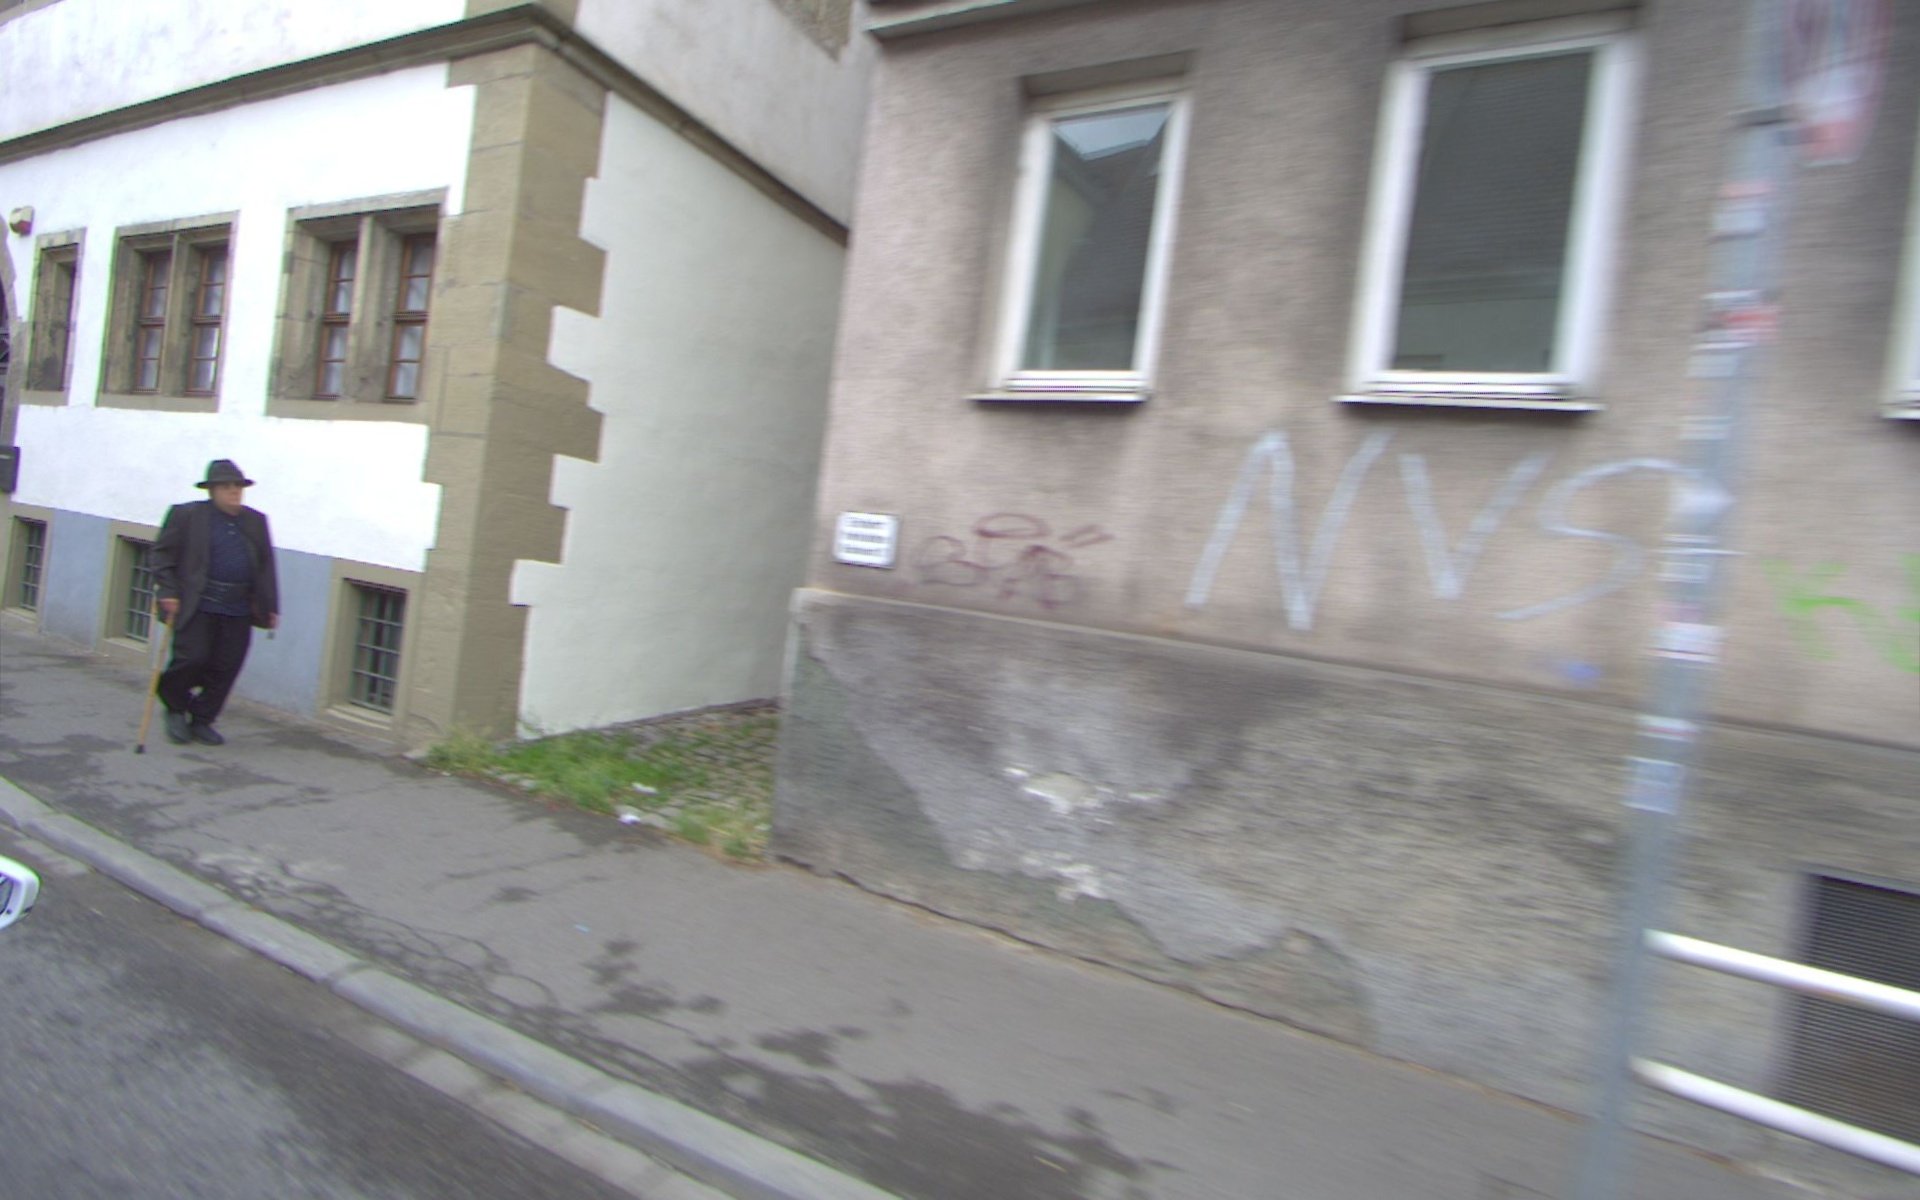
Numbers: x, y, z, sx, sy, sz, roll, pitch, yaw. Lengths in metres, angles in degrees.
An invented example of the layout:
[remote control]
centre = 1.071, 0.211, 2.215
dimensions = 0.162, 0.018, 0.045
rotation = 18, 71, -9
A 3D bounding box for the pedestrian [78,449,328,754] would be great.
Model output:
[pedestrian]
centre = -4.639, -0.003, 6.183
dimensions = 0.928, 1.677, 0.832
rotation = 7, 2, 30
